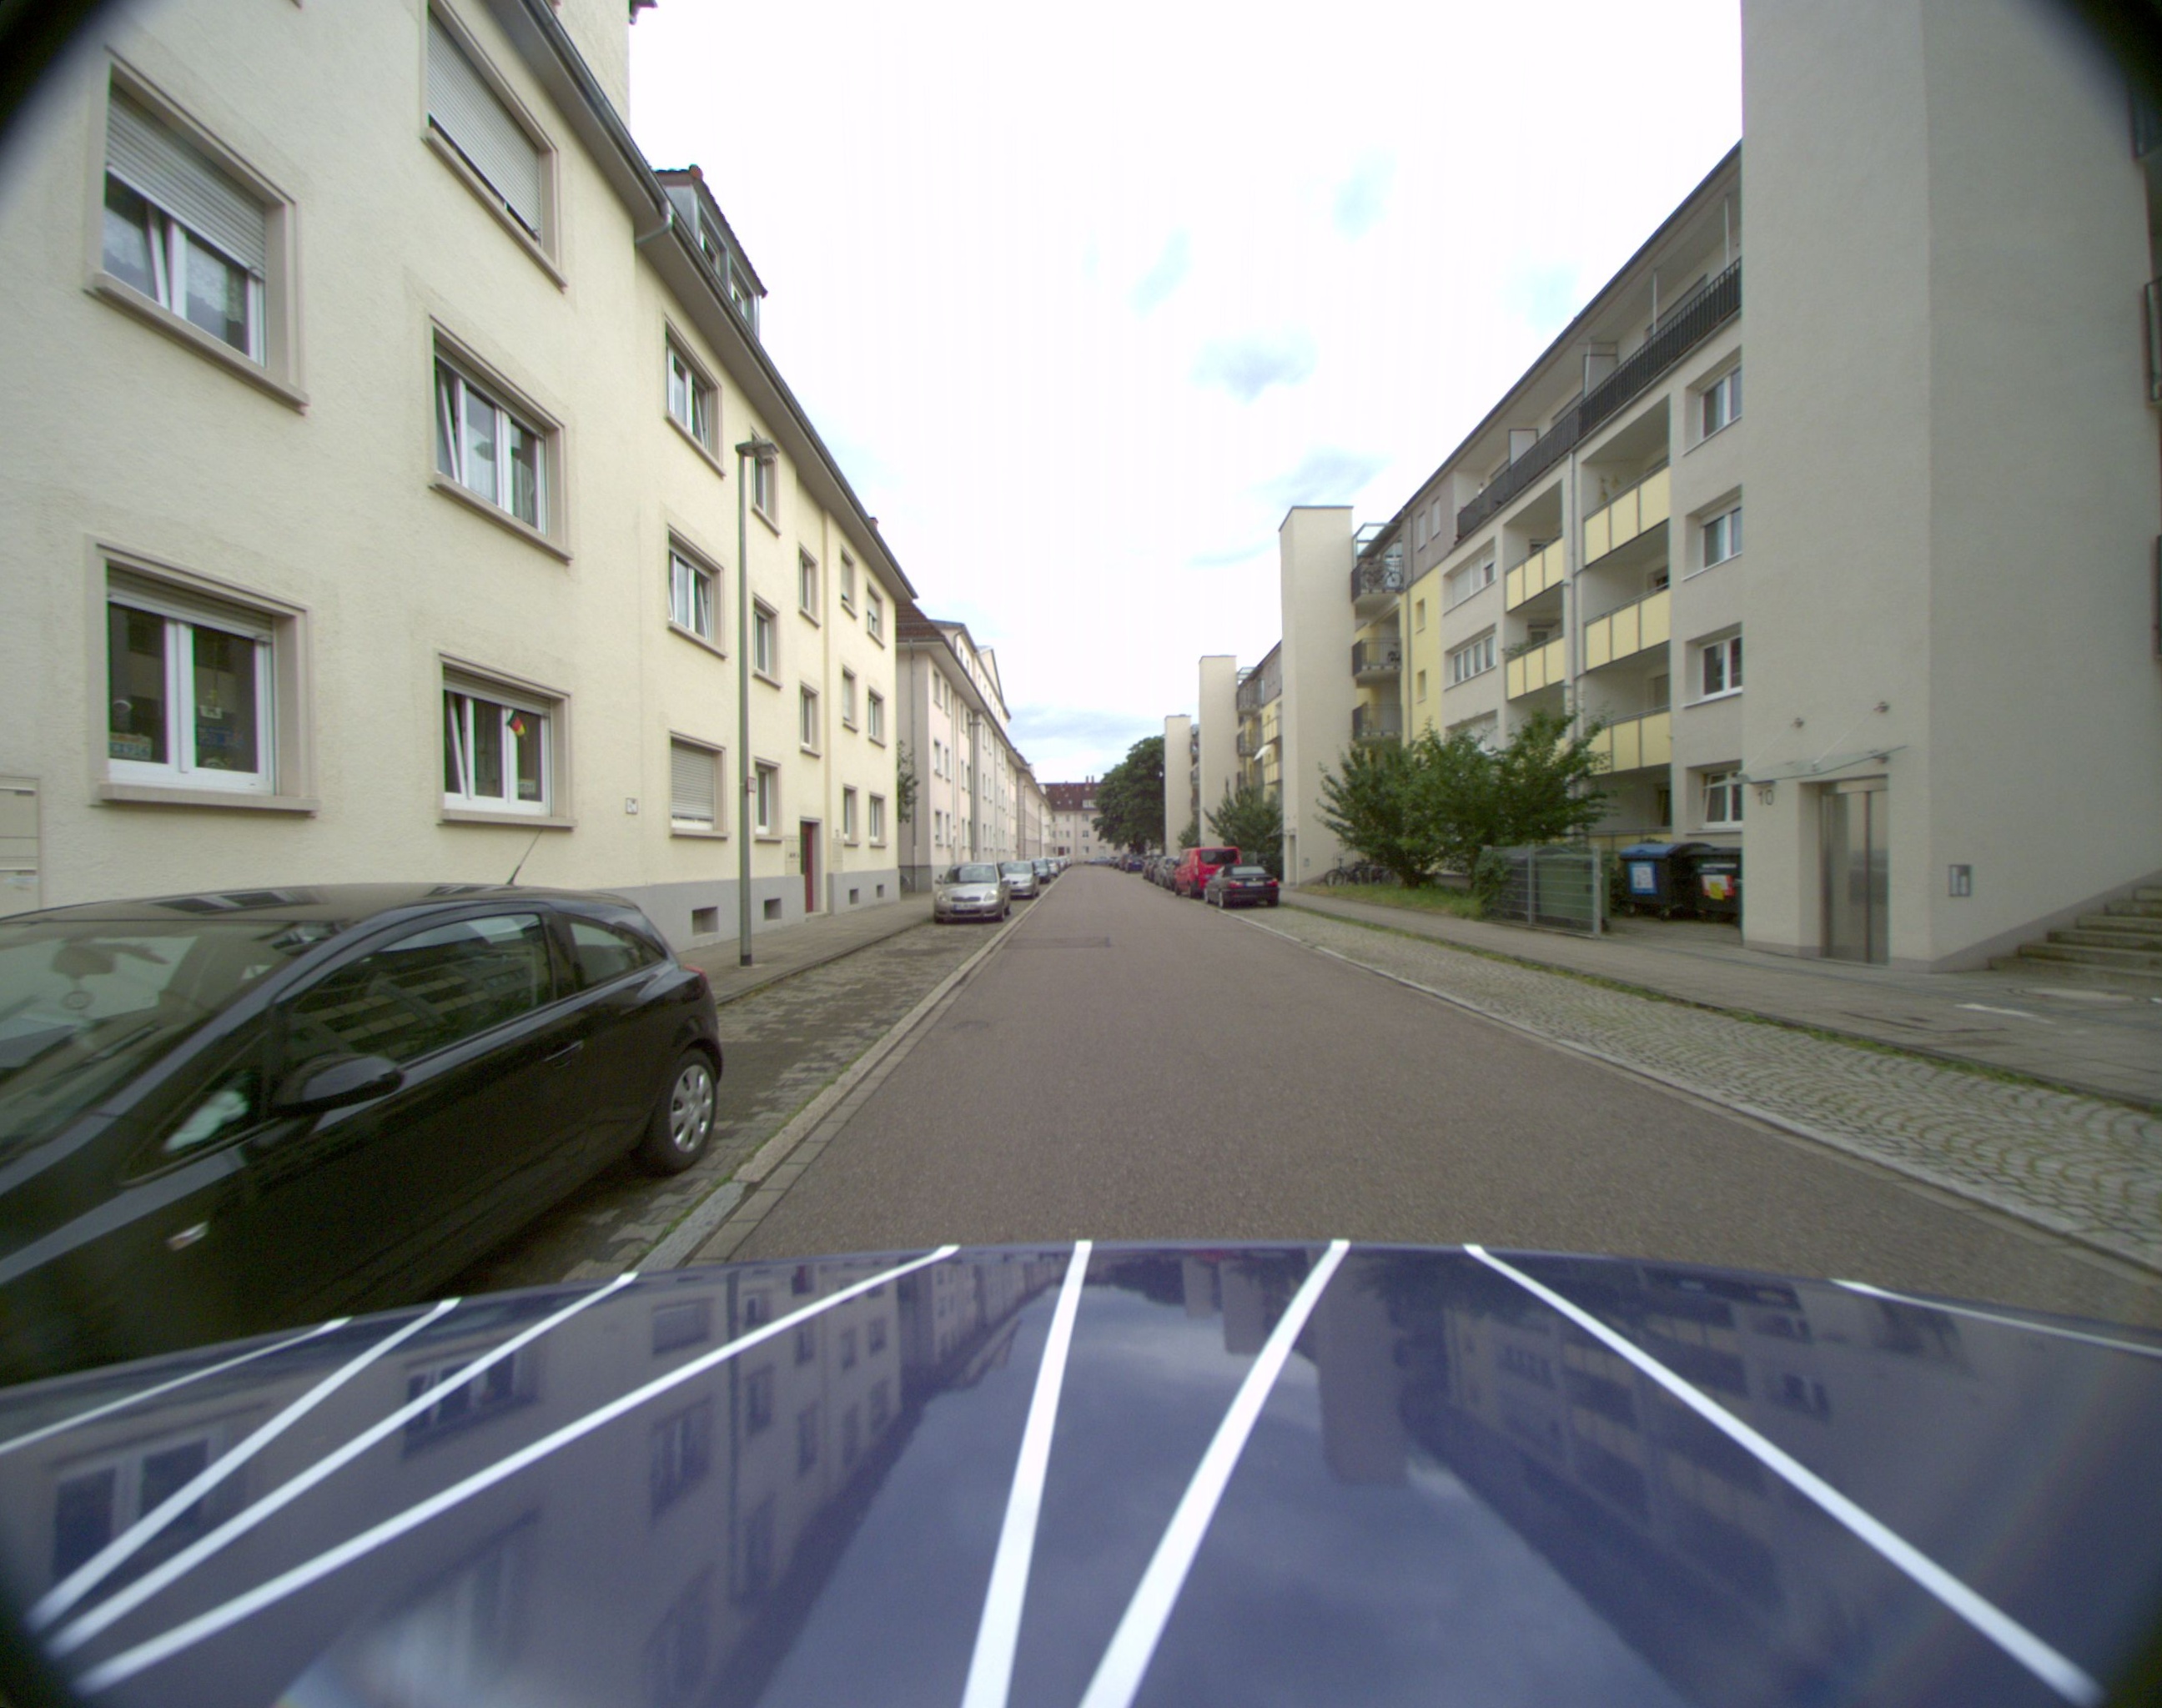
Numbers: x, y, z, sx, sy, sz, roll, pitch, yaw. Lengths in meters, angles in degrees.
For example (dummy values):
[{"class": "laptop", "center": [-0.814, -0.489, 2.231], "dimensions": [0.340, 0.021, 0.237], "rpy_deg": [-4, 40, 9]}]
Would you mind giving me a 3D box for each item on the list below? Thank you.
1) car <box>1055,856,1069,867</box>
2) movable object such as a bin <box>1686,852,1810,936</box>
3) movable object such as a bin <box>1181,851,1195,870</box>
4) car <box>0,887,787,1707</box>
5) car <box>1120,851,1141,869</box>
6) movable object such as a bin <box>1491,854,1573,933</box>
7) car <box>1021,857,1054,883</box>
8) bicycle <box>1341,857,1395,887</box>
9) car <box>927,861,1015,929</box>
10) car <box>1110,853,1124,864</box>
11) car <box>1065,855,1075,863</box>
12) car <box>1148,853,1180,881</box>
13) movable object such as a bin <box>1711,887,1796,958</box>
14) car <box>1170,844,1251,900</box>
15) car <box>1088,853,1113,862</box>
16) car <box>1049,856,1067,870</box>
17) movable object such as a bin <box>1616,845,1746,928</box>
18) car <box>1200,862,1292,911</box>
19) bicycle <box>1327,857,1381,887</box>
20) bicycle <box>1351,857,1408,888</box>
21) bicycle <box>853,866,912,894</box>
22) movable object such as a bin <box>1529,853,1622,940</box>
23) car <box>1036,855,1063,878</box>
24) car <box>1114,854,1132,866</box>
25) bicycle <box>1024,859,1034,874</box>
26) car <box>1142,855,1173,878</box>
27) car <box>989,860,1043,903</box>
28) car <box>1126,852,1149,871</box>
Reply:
[{"class": "car", "center": [-2.427, 0.987, 99.382], "dimensions": [1.758, 1.477, 3.773], "rpy_deg": [0, 0, 0]}, {"class": "movable object such as a bin", "center": [11.361, 0.653, 13.001], "dimensions": [0.981, 1.332, 1.288], "rpy_deg": [-2, 0, 0]}, {"class": "movable object such as a bin", "center": [8.777, 0.504, 62.392], "dimensions": [1.004, 1.492, 1.314], "rpy_deg": [-2, 1, 1]}, {"class": "car", "center": [-2.781, 1.001, 2.922], "dimensions": [1.729, 1.508, 4.060], "rpy_deg": [-2, 0, -1]}, {"class": "car", "center": [5.336, 0.619, 82.504], "dimensions": [1.891, 1.844, 4.785], "rpy_deg": [-1, 0, -1]}, {"class": "movable object such as a bin", "center": [8.613, 0.727, 14.569], "dimensions": [0.805, 1.421, 1.288], "rpy_deg": [-2, 0, 3]}, {"class": "car", "center": [-2.566, 0.929, 45.487], "dimensions": [1.729, 1.460, 4.264], "rpy_deg": [-1, 0, 0]}, {"class": "bicycle", "center": [10.967, 0.686, 29.039], "dimensions": [1.839, 1.112, 0.570], "rpy_deg": [-1, 0, 2]}, {"class": "car", "center": [-2.726, 0.973, 19.640], "dimensions": [1.729, 1.508, 4.060], "rpy_deg": [-1, 0, -1]}, {"class": "car", "center": [5.545, 0.640, 117.944], "dimensions": [2.000, 1.566, 4.209], "rpy_deg": [-3, 0, 1]}, {"class": "car", "center": [-1.837, 0.881, 126.827], "dimensions": [1.563, 1.334, 3.788], "rpy_deg": [-1, 0, 0]}, {"class": "car", "center": [5.073, 0.766, 46.793], "dimensions": [1.657, 1.521, 3.895], "rpy_deg": [-3, 0, 2]}, {"class": "movable object such as a bin", "center": [9.670, 0.973, 10.945], "dimensions": [0.637, 0.959, 0.652], "rpy_deg": [-1, 1, 0]}, {"class": "car", "center": [5.069, 0.652, 30.481], "dimensions": [2.157, 1.942, 4.920], "rpy_deg": [-3, 0, -2]}, {"class": "car", "center": [3.672, 0.696, 140.750], "dimensions": [4.546, 1.551, 1.565], "rpy_deg": [-1, 1, 4]}, {"class": "car", "center": [-2.416, 0.909, 80.292], "dimensions": [1.792, 1.455, 4.040], "rpy_deg": [0, 0, 0]}, {"class": "movable object such as a bin", "center": [11.331, 0.584, 14.421], "dimensions": [1.355, 1.456, 1.372], "rpy_deg": [-2, 0, -1]}, {"class": "car", "center": [5.177, 0.972, 24.409], "dimensions": [1.875, 1.316, 4.361], "rpy_deg": [-3, 0, -1]}, {"class": "bicycle", "center": [10.668, 0.706, 29.713], "dimensions": [1.839, 1.112, 0.605], "rpy_deg": [-2, 1, -1]}, {"class": "bicycle", "center": [11.018, 0.688, 28.063], "dimensions": [1.838, 1.112, 0.570], "rpy_deg": [-1, 0, 6]}, {"class": "bicycle", "center": [-8.094, 1.072, 31.076], "dimensions": [2.213, 1.070, 0.648], "rpy_deg": [-1, 1, -1]}, {"class": "movable object such as a bin", "center": [8.562, 0.707, 13.219], "dimensions": [0.805, 1.421, 1.288], "rpy_deg": [-2, 0, 4]}, {"class": "car", "center": [-2.416, 0.930, 58.419], "dimensions": [1.788, 1.590, 3.805], "rpy_deg": [-2, 0, 1]}, {"class": "car", "center": [5.368, 0.768, 97.933], "dimensions": [1.919, 1.431, 4.433], "rpy_deg": [-3, 0, -1]}, {"class": "bicycle", "center": [-4.068, 0.963, 59.846], "dimensions": [0.607, 1.133, 2.125], "rpy_deg": [0, 0, 0]}, {"class": "car", "center": [5.231, 0.830, 52.399], "dimensions": [1.647, 1.430, 3.856], "rpy_deg": [-3, 0, 0]}, {"class": "car", "center": [-2.477, 1.004, 29.739], "dimensions": [1.729, 1.483, 4.060], "rpy_deg": [-1, 0, 0]}, {"class": "car", "center": [5.226, 0.651, 70.560], "dimensions": [1.804, 1.617, 4.472], "rpy_deg": [-2, 0, 0]}]
